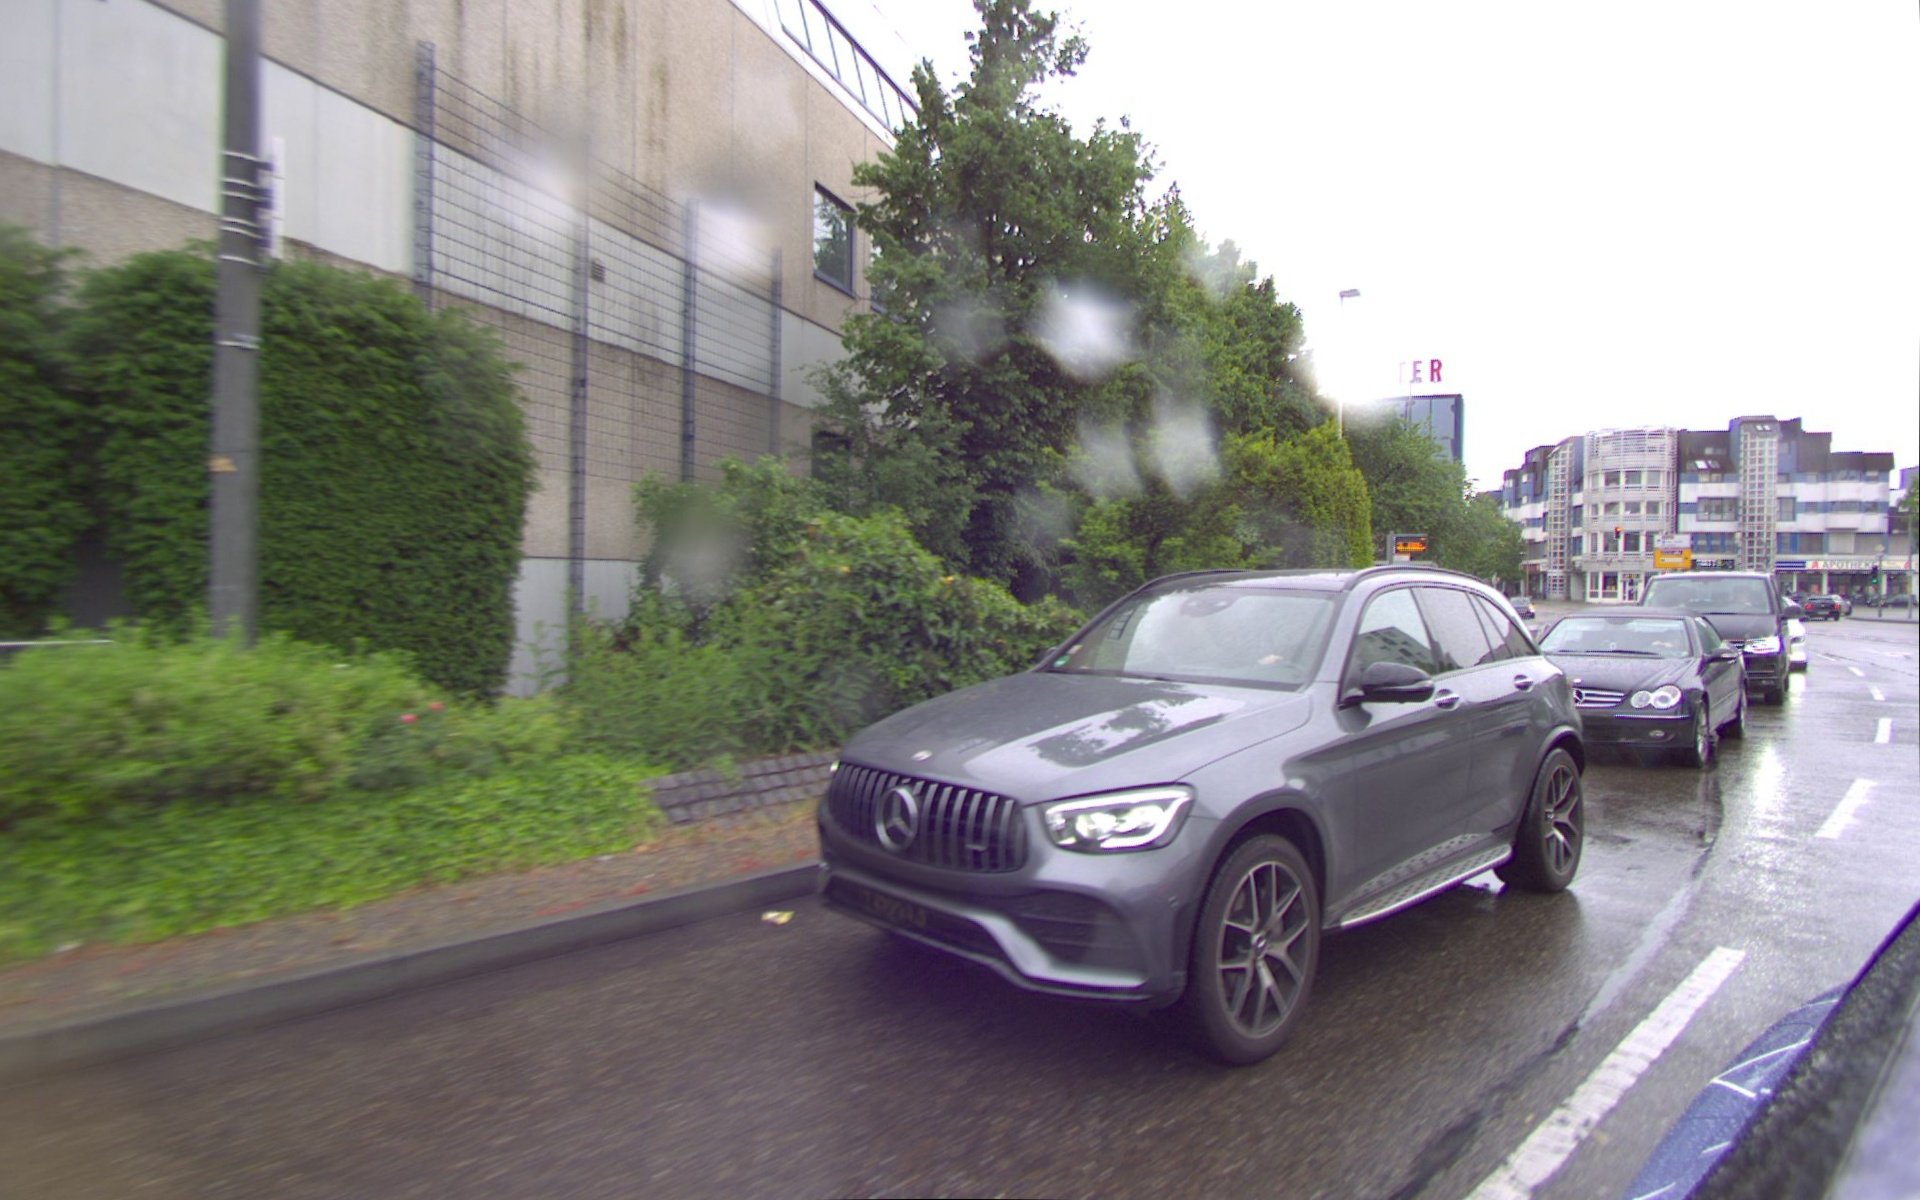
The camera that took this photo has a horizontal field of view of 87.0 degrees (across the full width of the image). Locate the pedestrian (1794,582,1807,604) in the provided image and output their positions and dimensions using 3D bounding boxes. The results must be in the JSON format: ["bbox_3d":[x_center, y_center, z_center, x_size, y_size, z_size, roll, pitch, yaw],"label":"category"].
[{"bbox_3d":[68.895,-0.585,82.985,0.574,1.765,0.683,-1,0,-37],"label":"pedestrian"}]

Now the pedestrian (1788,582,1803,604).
[{"bbox_3d":[67.739,-0.544,82.084,0.833,1.765,0.578,-1,0,33],"label":"pedestrian"}]

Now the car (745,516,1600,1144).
[{"bbox_3d":[1.331,0.580,4.816,4.262,1.641,1.903,-1,0,-43],"label":"car"}]

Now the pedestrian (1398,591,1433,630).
[{"bbox_3d":[15.650,0.348,34.765,1.022,1.297,0.686,3,1,26],"label":"pedestrian"}]

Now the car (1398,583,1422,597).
[{"bbox_3d":[48.944,-1.112,110.159,1.875,1.545,3.979,0,1,16],"label":"car"}]

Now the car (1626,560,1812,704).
[{"bbox_3d":[11.975,0.386,15.834,1.994,1.918,4.519,0,1,41],"label":"car"}]

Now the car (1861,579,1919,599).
[{"bbox_3d":[84.614,-0.988,91.871,3.831,1.742,1.743,0,0,9],"label":"car"}]

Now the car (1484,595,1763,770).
[{"bbox_3d":[6.985,0.660,10.440,1.632,1.403,4.443,0,0,44],"label":"car"}]

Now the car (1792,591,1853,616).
[{"bbox_3d":[50.760,0.188,59.620,1.745,1.445,3.964,0,0,25],"label":"car"}]

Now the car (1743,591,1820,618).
[{"bbox_3d":[46.210,0.212,57.065,1.824,1.479,4.779,0,1,19],"label":"car"}]

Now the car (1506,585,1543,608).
[{"bbox_3d":[40.059,-0.272,71.884,1.717,1.616,3.972,0,1,21],"label":"car"}]

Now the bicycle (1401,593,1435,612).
[{"bbox_3d":[27.565,0.159,60.938,1.817,1.124,0.688,1,1,26],"label":"bicycle"}]

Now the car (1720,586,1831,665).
[{"bbox_3d":[17.991,0.501,22.393,1.754,1.569,4.266,0,0,39],"label":"car"}]
